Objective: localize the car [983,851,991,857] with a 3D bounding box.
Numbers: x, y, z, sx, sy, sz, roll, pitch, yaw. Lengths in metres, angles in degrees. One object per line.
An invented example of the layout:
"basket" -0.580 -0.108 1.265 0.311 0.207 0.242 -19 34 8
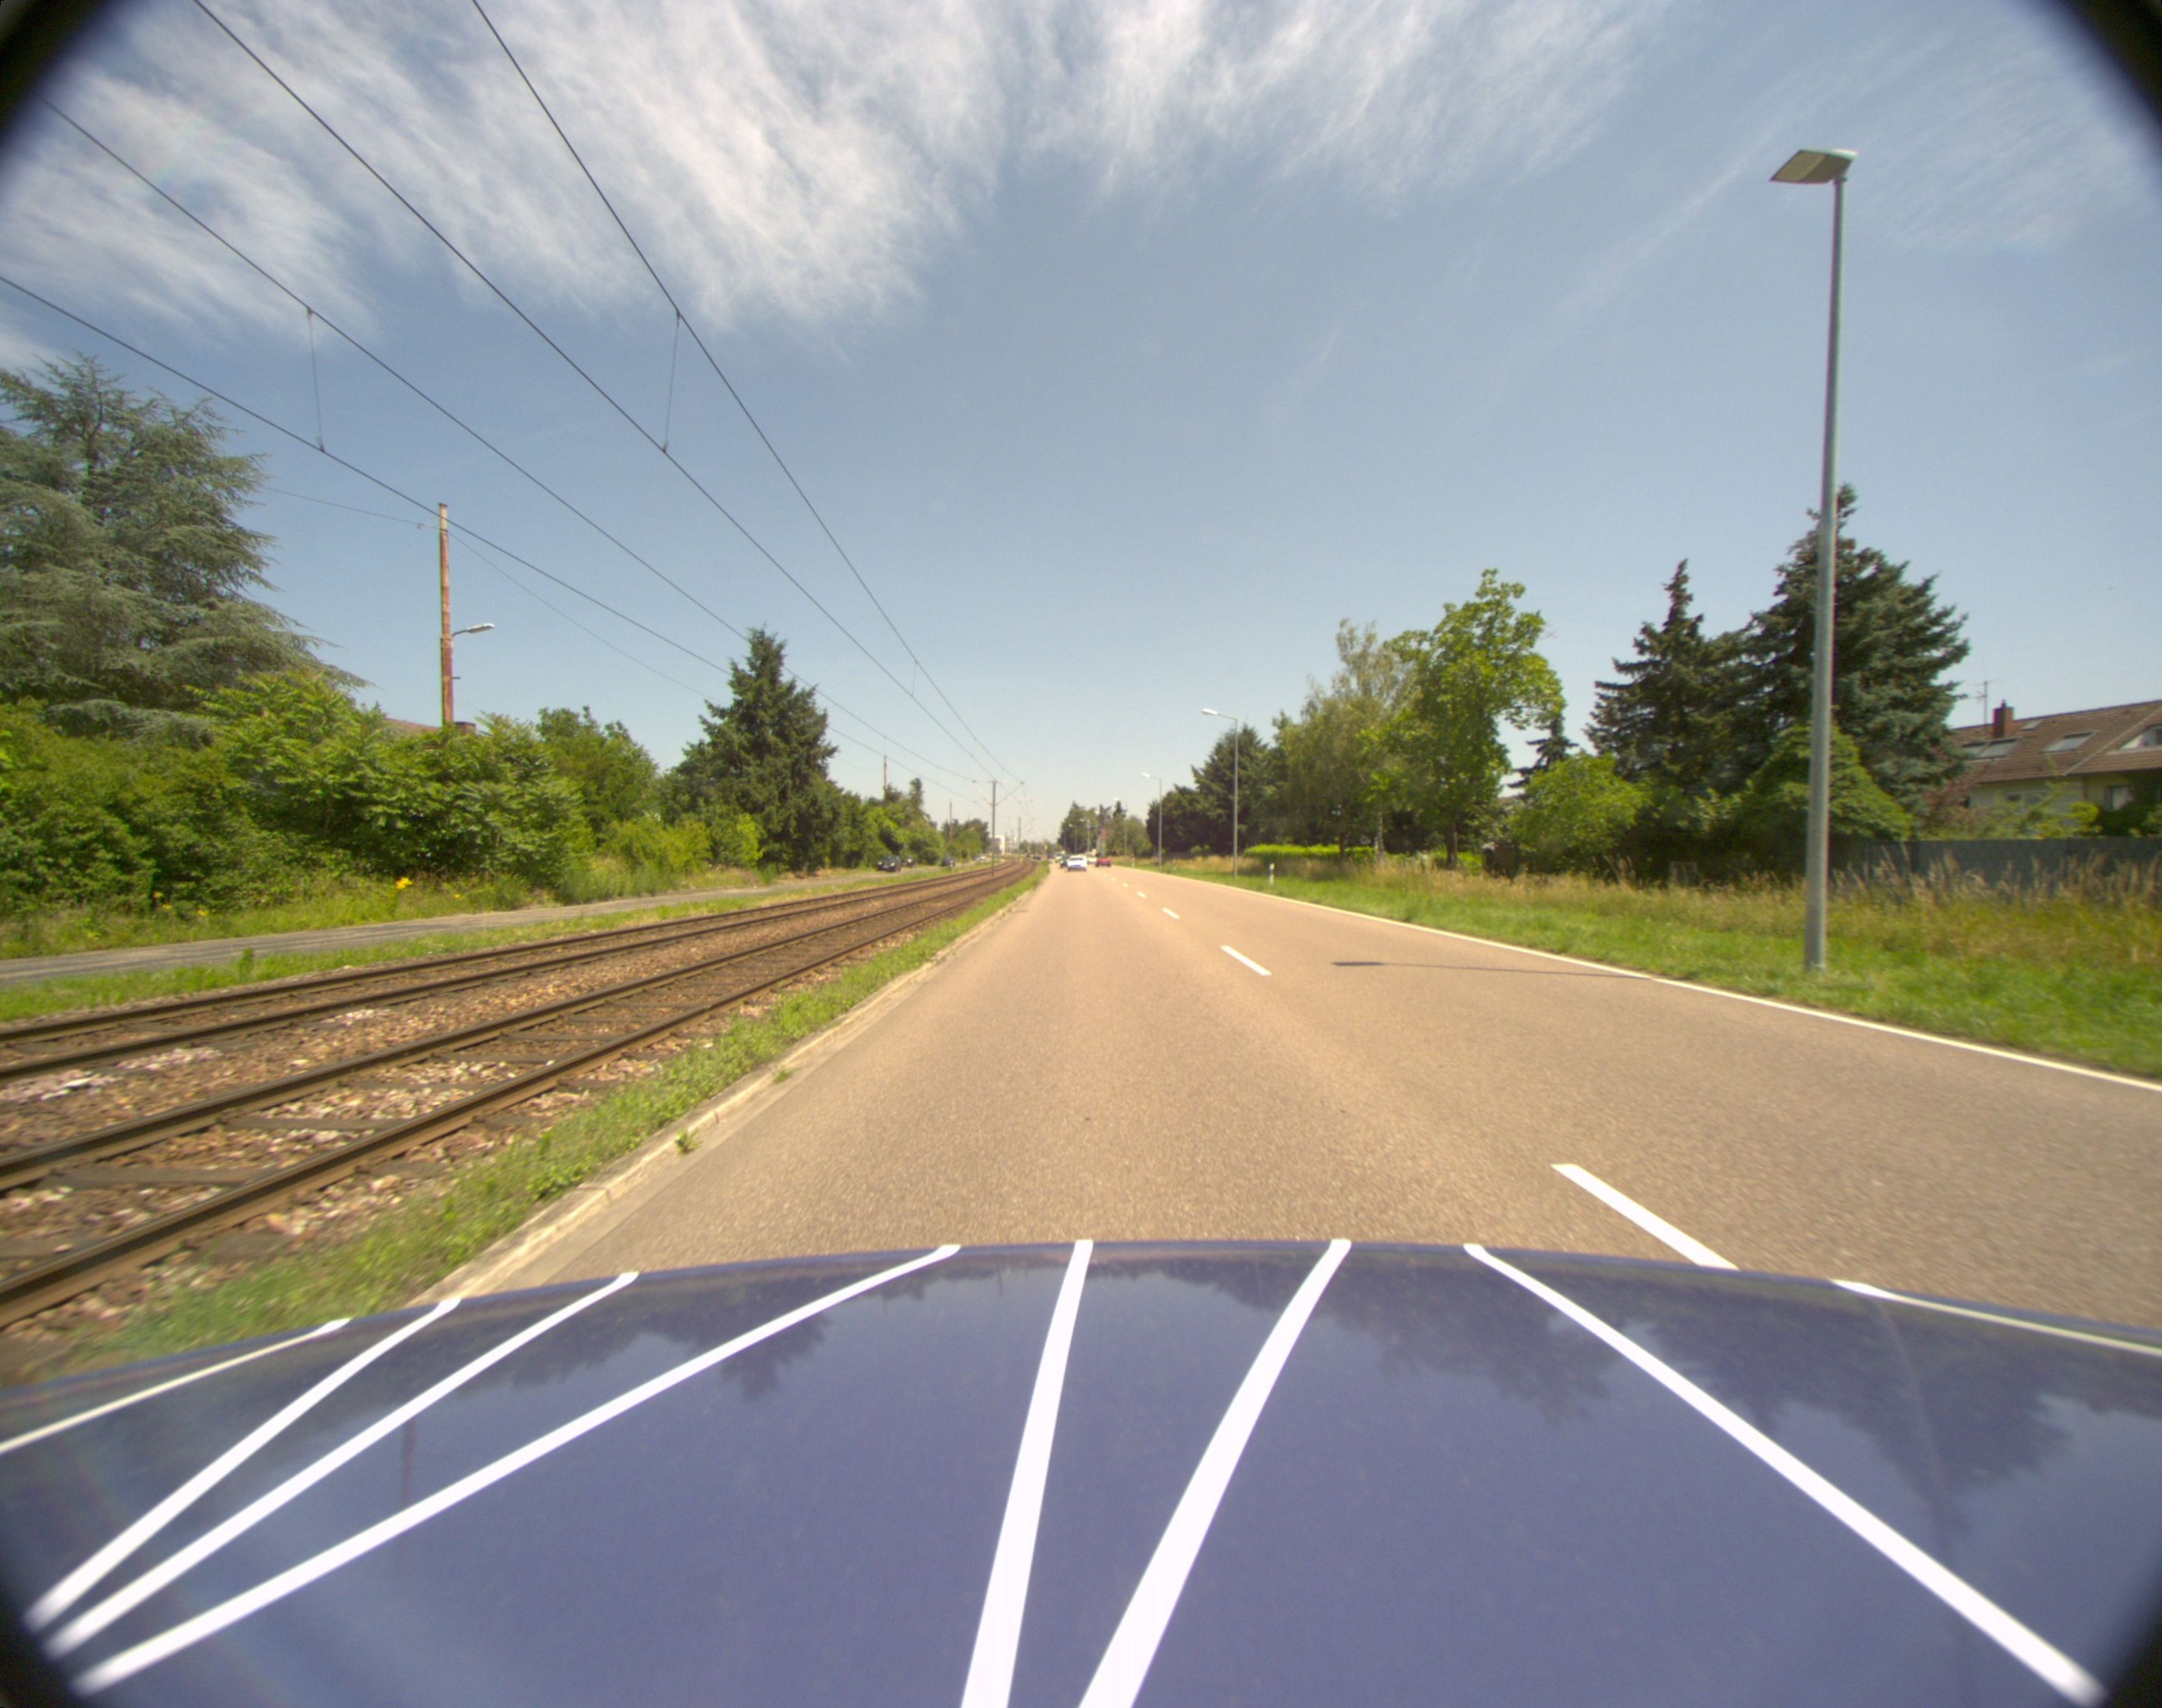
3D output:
"car" -23.317 0.051 189.174 1.945 1.414 3.997 0 1 -6

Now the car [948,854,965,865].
"car" -16.470 0.673 100.575 1.866 1.322 4.512 0 1 -4

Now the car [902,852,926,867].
"car" -18.656 0.625 85.043 1.940 1.552 4.554 0 1 -4

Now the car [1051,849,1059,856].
"car" -7.630 -0.333 221.887 1.938 2.002 3.998 0 1 -5

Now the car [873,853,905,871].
"car" -17.092 0.678 67.882 1.919 1.462 3.999 0 1 -2

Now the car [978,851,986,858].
"car" -22.245 0.130 170.586 1.624 1.414 4.870 0 1 -5

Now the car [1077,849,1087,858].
"car" 0.146 -0.086 136.860 1.751 1.494 3.706 0 1 -2

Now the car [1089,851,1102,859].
"car" 2.174 0.120 114.415 1.687 1.242 3.908 0 1 -1

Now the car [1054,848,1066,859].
"car" -3.742 -0.158 137.257 1.938 2.002 3.998 0 1 -5

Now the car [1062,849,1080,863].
"car" -1.177 0.236 90.782 1.999 1.576 3.998 0 1 -3

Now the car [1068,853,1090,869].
"car" -0.216 0.632 72.871 1.857 1.447 3.704 0 1 -3

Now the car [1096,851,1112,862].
"car" 2.869 0.237 93.655 1.754 1.293 4.252 0 1 -1
